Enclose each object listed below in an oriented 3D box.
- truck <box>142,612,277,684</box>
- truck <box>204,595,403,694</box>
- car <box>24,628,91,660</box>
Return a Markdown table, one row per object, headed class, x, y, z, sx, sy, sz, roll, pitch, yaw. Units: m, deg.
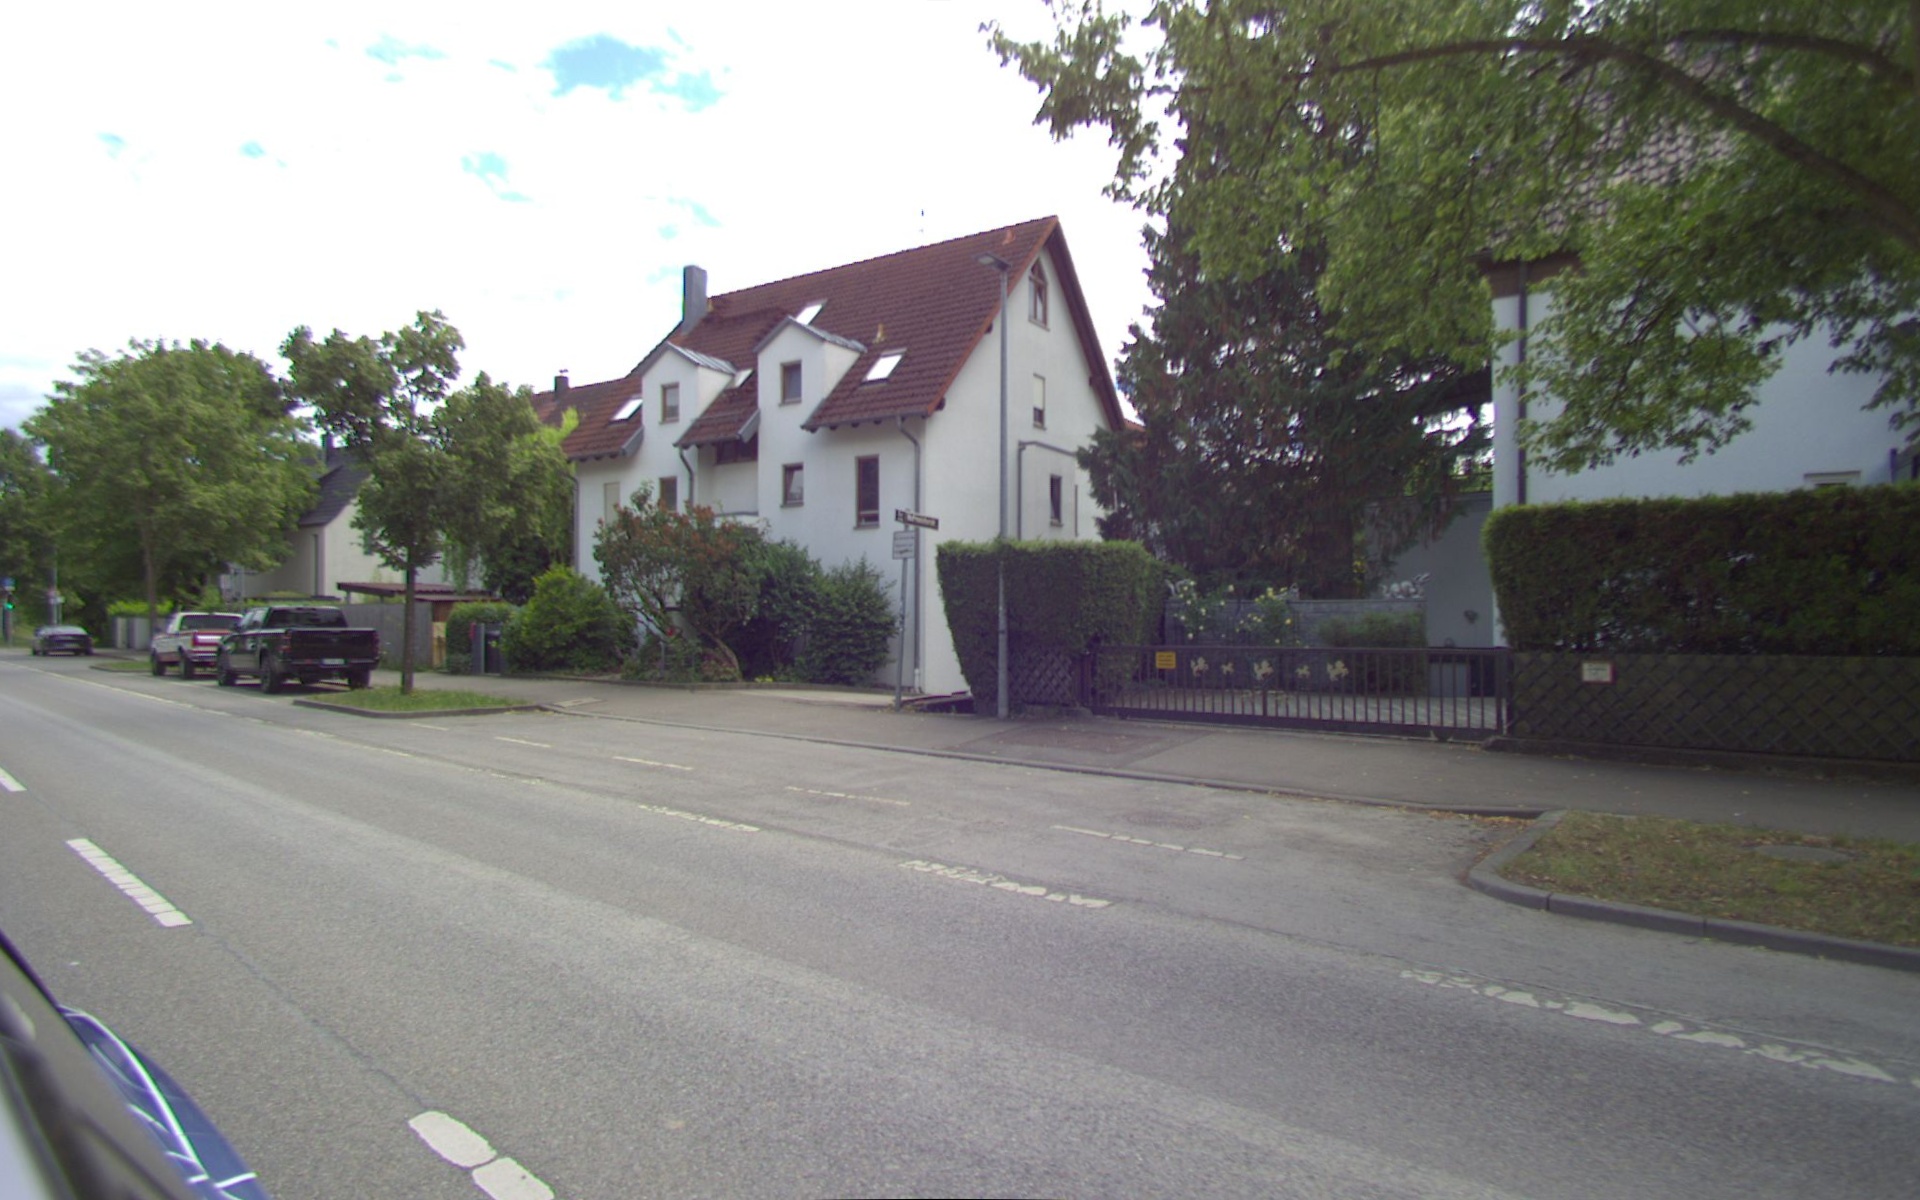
| class | x | y | z | sx | sy | sz | roll | pitch | yaw |
| --- | --- | --- | --- | --- | --- | --- | --- | --- | --- |
| truck | -21.461 | 1.324 | 28.846 | 5.663 | 1.882 | 1.946 | -1 | -3 | 42 |
| truck | -15.610 | 0.991 | 23.921 | 5.992 | 2.059 | 2.398 | -1 | -1 | 41 |
| car | -42.687 | 2.062 | 47.856 | 4.924 | 1.419 | 1.727 | -1 | -3 | 41 |
